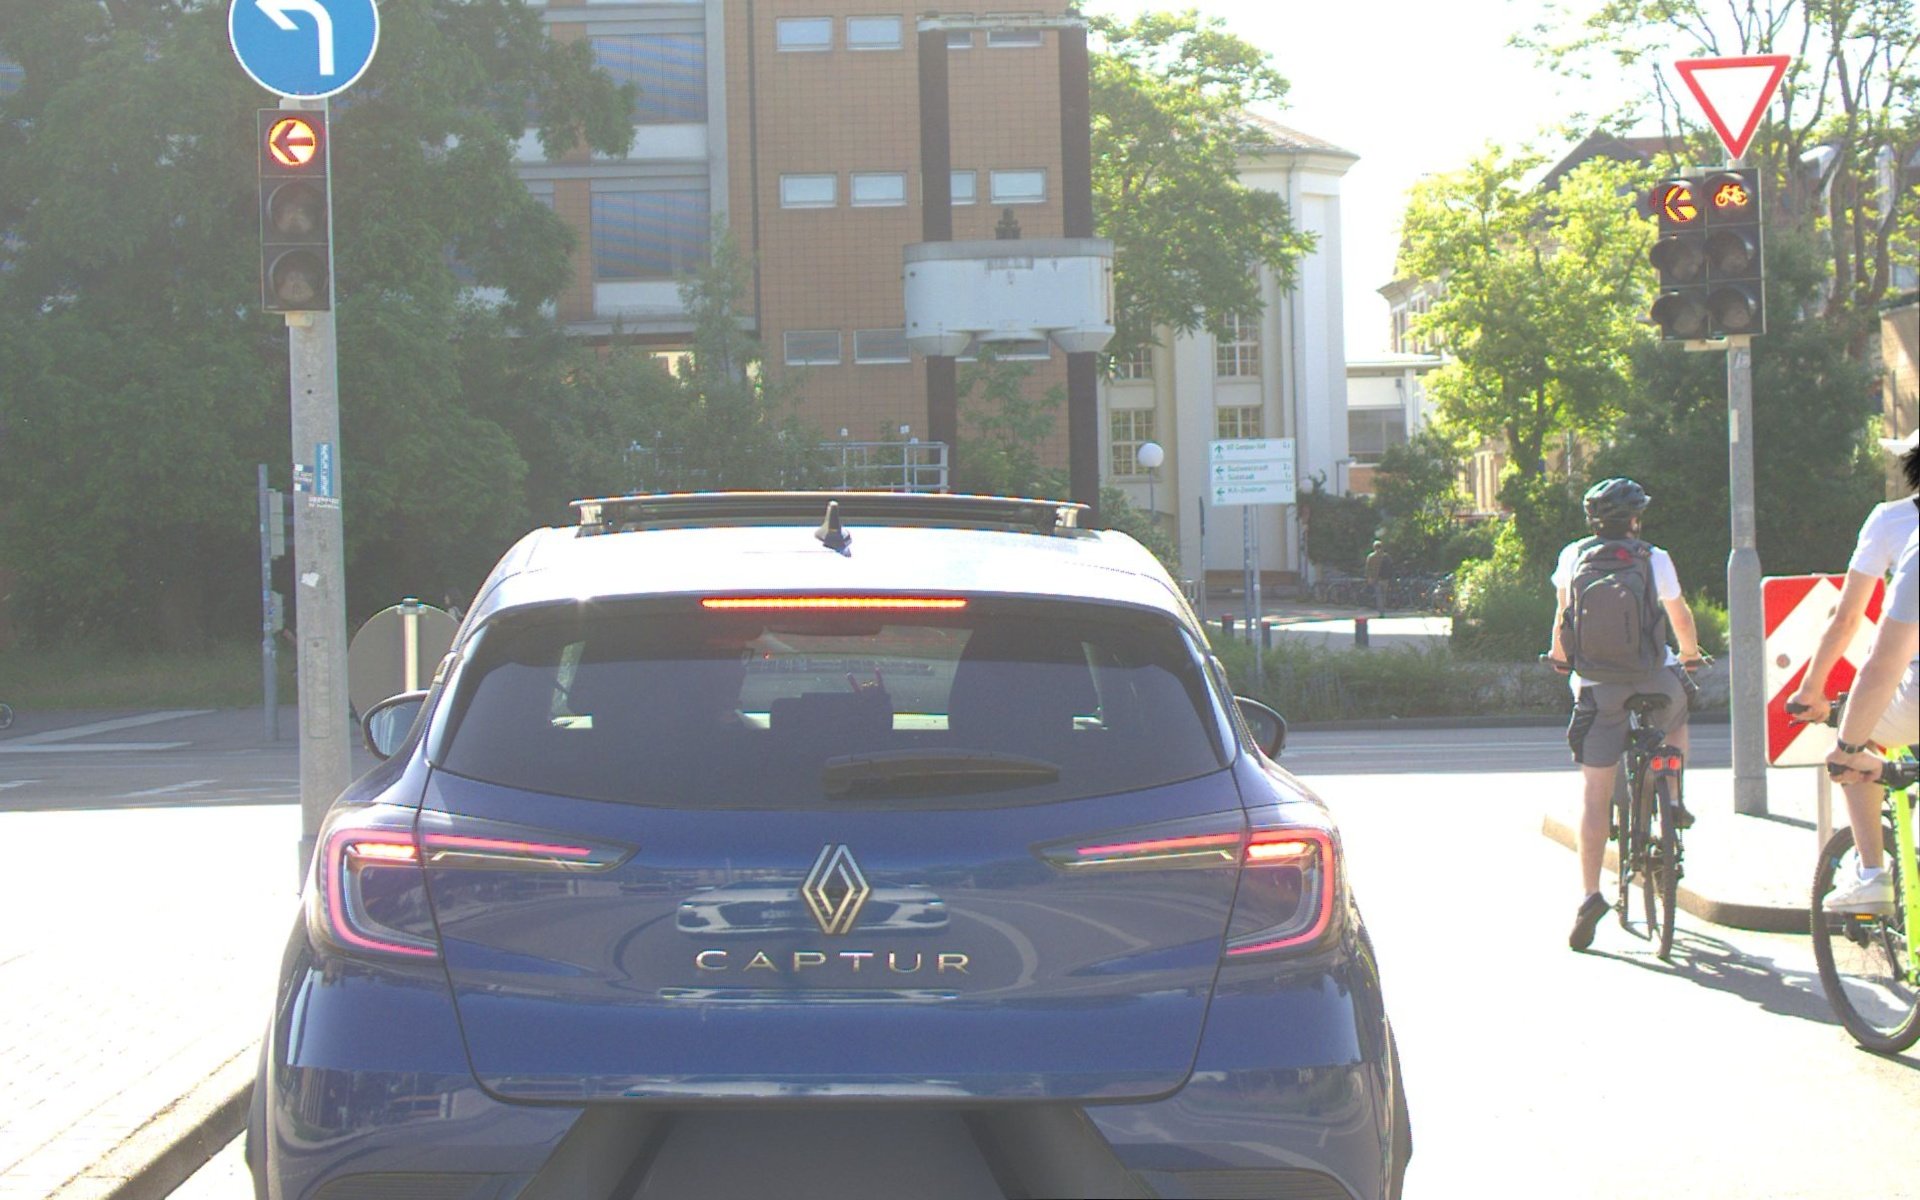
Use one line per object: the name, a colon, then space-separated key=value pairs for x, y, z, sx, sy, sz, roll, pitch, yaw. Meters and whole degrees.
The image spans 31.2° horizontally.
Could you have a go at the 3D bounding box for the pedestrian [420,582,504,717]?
pedestrian: x=-6.990 y=0.690 z=48.243 sx=0.932 sy=1.849 sz=0.807 roll=-1 pitch=1 yaw=9

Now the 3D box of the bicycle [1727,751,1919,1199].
bicycle: x=2.248 y=0.900 z=7.272 sx=0.747 sy=1.047 sz=1.903 roll=-1 pitch=1 yaw=-2

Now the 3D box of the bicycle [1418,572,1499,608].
bicycle: x=12.034 y=-0.237 z=83.046 sx=1.770 sy=0.820 sz=0.766 roll=-1 pitch=1 yaw=-10

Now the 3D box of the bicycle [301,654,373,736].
bicycle: x=-7.960 y=1.223 z=43.894 sx=0.698 sy=1.004 sz=1.868 roll=-2 pitch=-2 yaw=-16

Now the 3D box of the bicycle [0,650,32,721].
bicycle: x=-13.834 y=1.190 z=47.696 sx=1.867 sy=0.955 sz=0.623 roll=-1 pitch=1 yaw=24

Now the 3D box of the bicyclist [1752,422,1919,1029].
bicyclist: x=2.674 y=0.325 z=9.493 sx=0.674 sy=1.577 sz=1.081 roll=1 pitch=1 yaw=-1

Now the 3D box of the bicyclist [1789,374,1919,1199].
bicyclist: x=2.237 y=0.377 z=7.201 sx=0.740 sy=1.668 sz=0.866 roll=-1 pitch=1 yaw=-2

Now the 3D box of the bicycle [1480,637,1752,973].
bicycle: x=2.448 y=0.730 z=13.011 sx=0.615 sy=1.134 sz=1.826 roll=0 pitch=1 yaw=-2

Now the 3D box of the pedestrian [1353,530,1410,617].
pedestrian: x=9.947 y=-0.632 z=81.079 sx=1.156 sy=2.007 sz=1.164 roll=-1 pitch=1 yaw=0

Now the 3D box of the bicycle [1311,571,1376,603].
bicycle: x=11.065 y=-0.381 z=99.212 sx=1.771 sy=0.890 sz=0.765 roll=-1 pitch=1 yaw=0

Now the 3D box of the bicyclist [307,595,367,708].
bicyclist: x=-7.945 y=0.659 z=43.826 sx=0.647 sy=1.407 sz=0.639 roll=-1 pitch=-2 yaw=-16

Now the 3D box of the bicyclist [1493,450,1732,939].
bicyclist: x=2.453 y=0.343 z=13.013 sx=0.676 sy=1.779 sz=0.940 roll=1 pitch=0 yaw=-2

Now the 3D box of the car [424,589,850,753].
car: x=-3.308 y=0.721 z=35.493 sx=3.989 sy=1.565 sz=1.835 roll=-1 pitch=1 yaw=12

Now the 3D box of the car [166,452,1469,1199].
car: x=-0.248 y=0.590 z=6.687 sx=1.794 sy=1.649 sz=3.853 roll=0 pitch=1 yaw=-2

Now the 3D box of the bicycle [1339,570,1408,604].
bicycle: x=11.403 y=-0.350 z=94.848 sx=1.771 sy=0.895 sz=0.765 roll=-1 pitch=1 yaw=0

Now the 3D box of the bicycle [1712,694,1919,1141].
bicycle: x=2.664 y=0.827 z=9.564 sx=0.671 sy=1.047 sz=1.844 roll=1 pitch=1 yaw=-2
